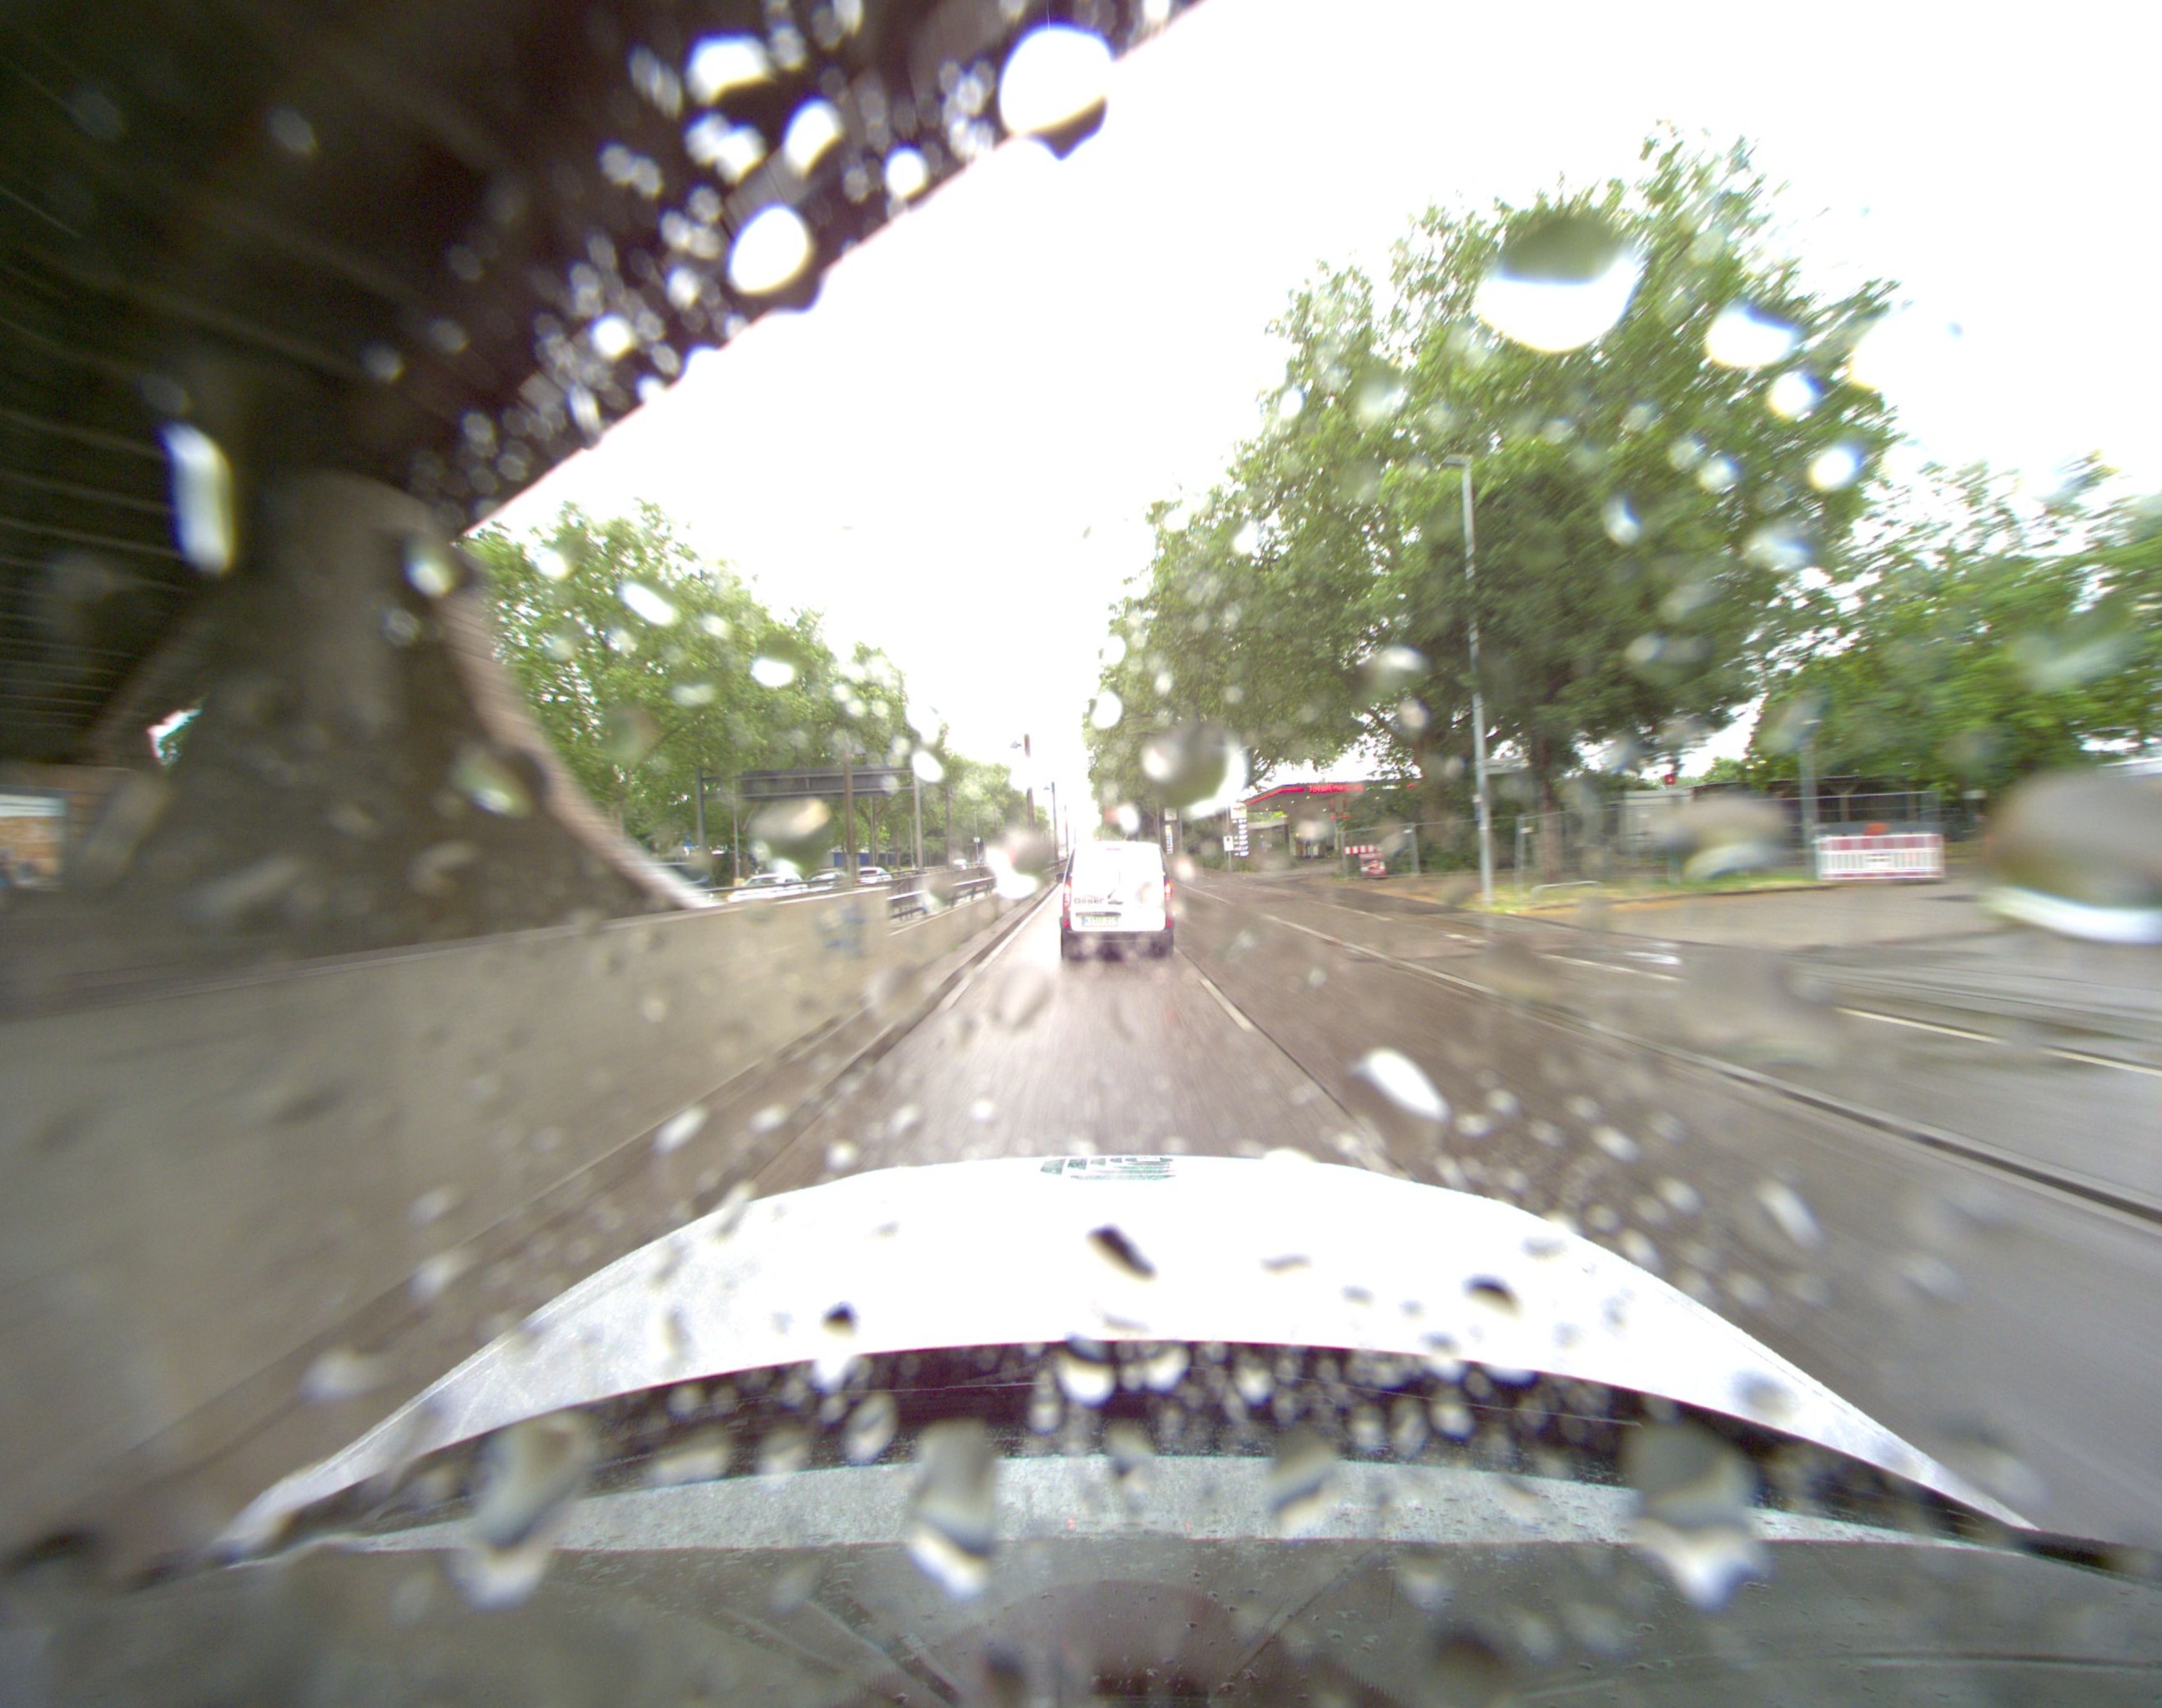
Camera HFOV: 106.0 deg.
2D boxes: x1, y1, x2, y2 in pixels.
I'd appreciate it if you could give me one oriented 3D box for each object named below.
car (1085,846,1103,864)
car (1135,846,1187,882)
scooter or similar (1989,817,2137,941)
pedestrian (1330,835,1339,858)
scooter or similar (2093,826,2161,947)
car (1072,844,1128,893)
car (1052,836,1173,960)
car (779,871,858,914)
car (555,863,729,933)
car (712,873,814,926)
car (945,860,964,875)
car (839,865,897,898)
[{"bbox_3d":[1.632,0.123,98.902,2.041,2.140,4.002,-3,0,2],"label":"car"},{"bbox_3d":[3.983,0.517,41.209,1.988,1.585,3.997,-4,-1,-2],"label":"car"},{"bbox_3d":[11.509,0.269,9.609,0.701,1.310,1.568,-10,-5,40],"label":"scooter or similar"},{"bbox_3d":[19.828,-0.571,63.708,0.549,1.725,0.729,-4,0,19],"label":"pedestrian"},{"bbox_3d":[11.156,0.318,7.970,0.764,1.178,1.555,-6,-1,18],"label":"scooter or similar"},{"bbox_3d":[0.697,0.521,30.866,1.911,1.609,4.000,-4,0,0],"label":"car"},{"bbox_3d":[0.426,0.648,13.810,1.751,1.777,3.998,0,0,-1],"label":"car"},{"bbox_3d":[-11.543,1.641,36.079,1.986,1.632,4.090,-3,0,2],"label":"car"},{"bbox_3d":[-11.886,1.098,22.611,1.975,1.574,5.533,-3,-1,-3],"label":"car"},{"bbox_3d":[-11.645,1.631,30.177,1.986,1.632,4.090,-3,0,2],"label":"car"},{"bbox_3d":[-14.761,1.549,95.378,1.905,1.571,3.992,-3,0,-6],"label":"car"},{"bbox_3d":[-11.834,1.481,45.483,1.988,1.632,4.578,-3,0,-1],"label":"car"}]
